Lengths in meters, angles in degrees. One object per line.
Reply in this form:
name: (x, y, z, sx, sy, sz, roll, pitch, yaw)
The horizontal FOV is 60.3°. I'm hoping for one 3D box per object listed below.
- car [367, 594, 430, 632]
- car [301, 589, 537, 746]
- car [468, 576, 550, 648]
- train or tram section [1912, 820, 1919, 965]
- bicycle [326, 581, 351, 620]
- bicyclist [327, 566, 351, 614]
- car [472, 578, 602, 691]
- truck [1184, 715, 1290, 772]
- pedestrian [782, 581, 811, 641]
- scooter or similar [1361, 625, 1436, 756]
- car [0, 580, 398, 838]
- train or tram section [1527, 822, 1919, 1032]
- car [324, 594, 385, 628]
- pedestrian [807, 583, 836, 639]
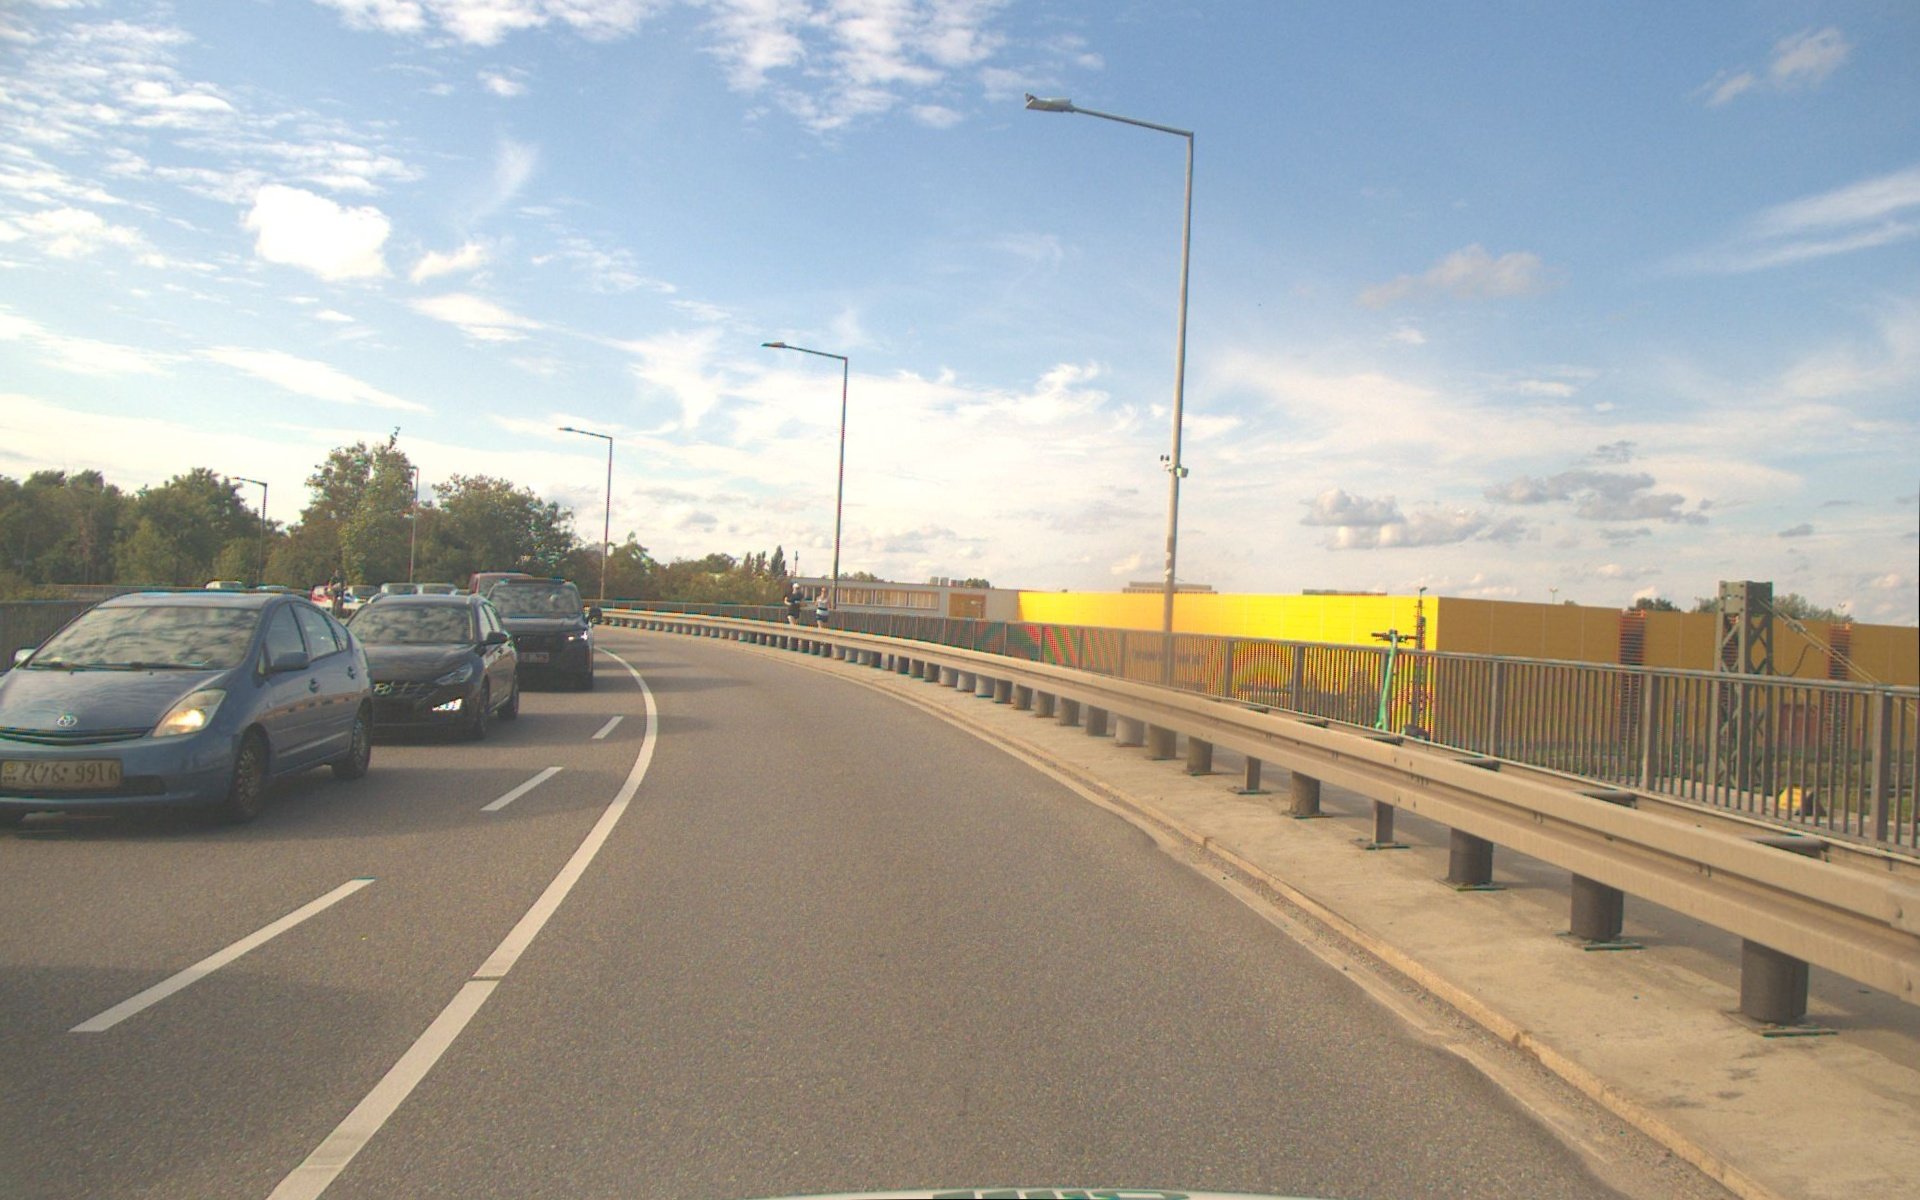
car: (-23.510, 0.518, 69.205, 1.723, 1.527, 4.035, 0, 0, -31)
car: (-5.824, 0.648, 18.303, 1.727, 1.516, 4.437, 0, 0, -8)
car: (-12.945, 0.310, 47.288, 1.977, 1.936, 4.841, 0, 0, -19)
train or tram section: (40.081, 9.883, 57.341, 16.467, 4.795, 3.075, 1, 0, -23)
bicycle: (-21.904, 0.009, 58.244, 0.753, 1.355, 1.903, 1, 0, -22)
bicyclist: (-21.931, -0.346, 58.381, 0.756, 1.690, 1.112, 1, 0, -23)
car: (-6.894, 0.508, 27.349, 1.797, 1.701, 4.853, 0, 0, -11)
truck: (19.949, 10.267, 119.130, 7.105, 3.680, 2.651, 1, 1, -21)
pedestrian: (-4.630, 0.305, 46.693, 0.665, 1.690, 0.862, 1, 0, -15)
scooter or similar: (4.157, 0.835, 15.737, 0.260, 1.182, 1.187, 1, -1, -7)
car: (-5.472, 0.631, 11.955, 1.726, 1.516, 4.385, 0, 0, -6)
train or tram section: (24.980, 9.752, 50.872, 16.466, 4.795, 3.075, 1, 0, -23)
car: (-27.937, 0.494, 76.261, 1.725, 1.527, 4.029, 0, 0, -34)
pedestrian: (-3.953, 0.314, 47.155, 0.665, 1.570, 0.956, 1, 0, -16)
